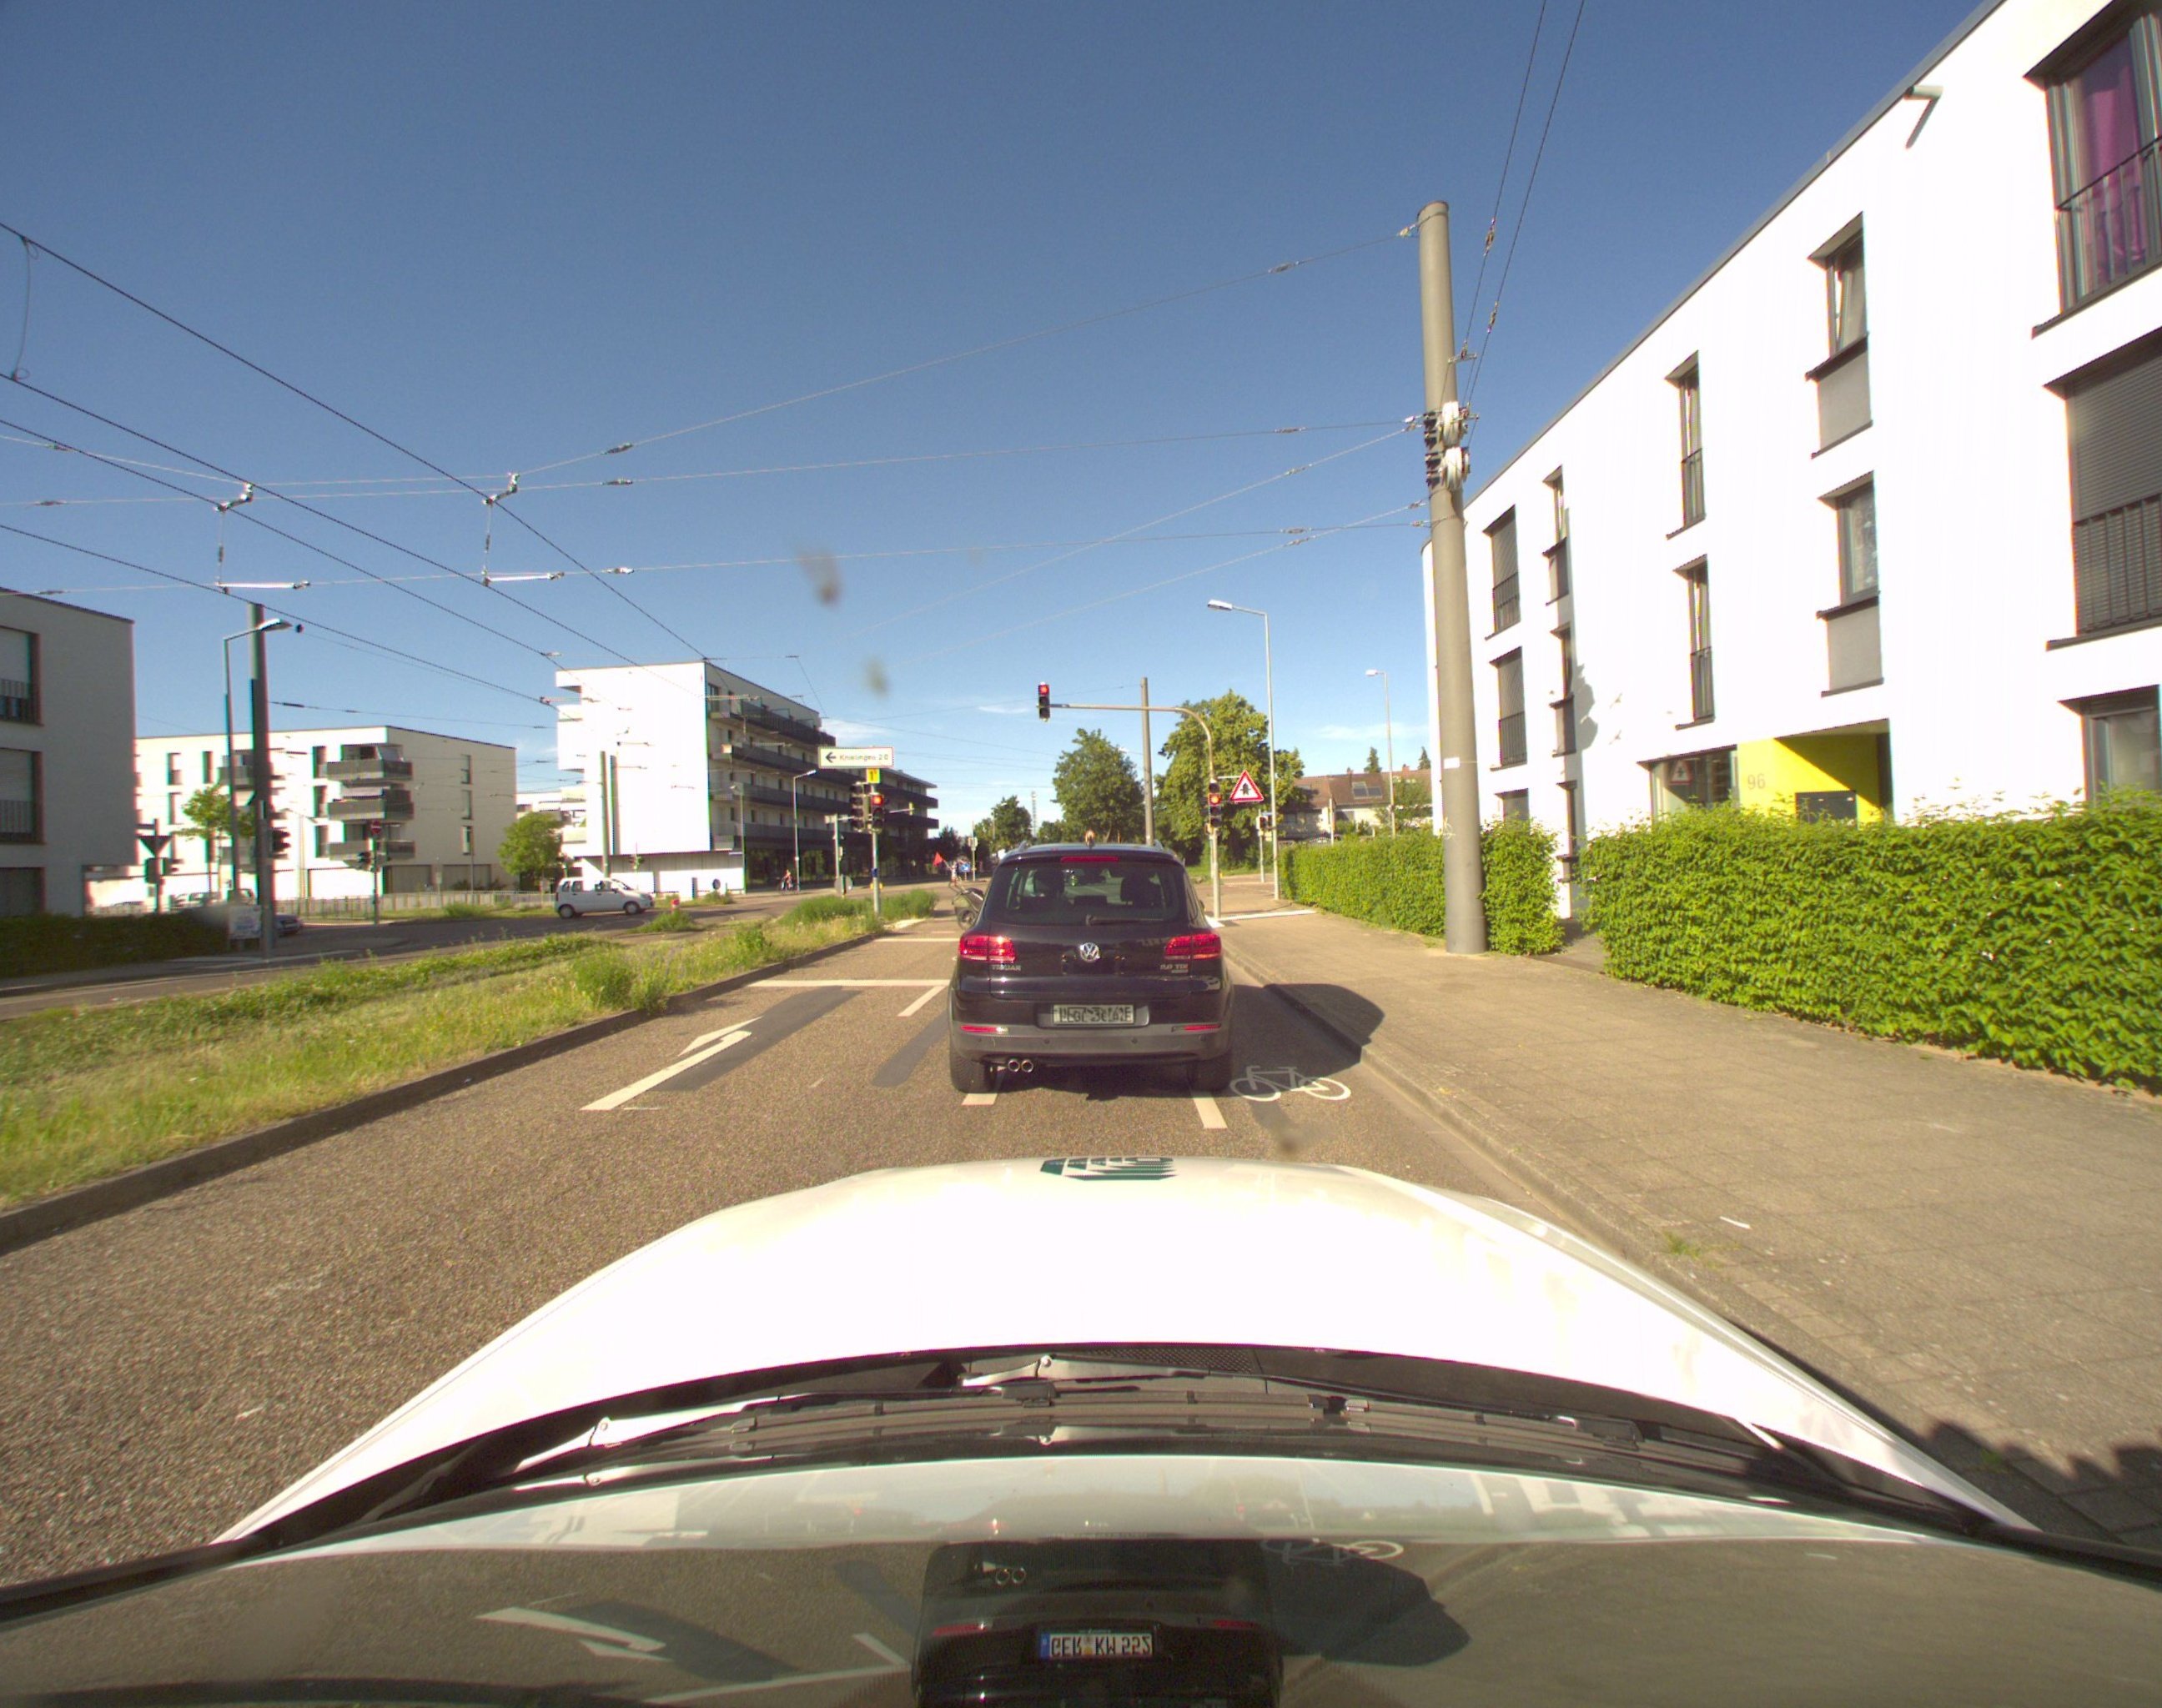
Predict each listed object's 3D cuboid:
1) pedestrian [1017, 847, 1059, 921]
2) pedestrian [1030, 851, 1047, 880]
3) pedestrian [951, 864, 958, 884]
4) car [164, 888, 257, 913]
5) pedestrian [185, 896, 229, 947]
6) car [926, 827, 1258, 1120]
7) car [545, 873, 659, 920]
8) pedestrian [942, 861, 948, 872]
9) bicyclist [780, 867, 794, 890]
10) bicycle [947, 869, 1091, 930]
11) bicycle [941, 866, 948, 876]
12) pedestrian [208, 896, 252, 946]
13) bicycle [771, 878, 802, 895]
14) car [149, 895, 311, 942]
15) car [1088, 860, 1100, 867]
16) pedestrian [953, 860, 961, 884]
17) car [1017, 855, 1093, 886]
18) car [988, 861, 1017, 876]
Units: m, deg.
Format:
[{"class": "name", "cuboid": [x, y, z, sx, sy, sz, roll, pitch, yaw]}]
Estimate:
[{"class": "pedestrian", "cuboid": [-0.961, 0.673, 18.415, 0.849, 1.594, 0.913, -3, -1, -2]}, {"class": "pedestrian", "cuboid": [-2.563, 0.681, 48.980, 0.806, 1.692, 0.623, -3, -1, 18]}, {"class": "pedestrian", "cuboid": [-9.305, 1.472, 59.970, 0.440, 1.503, 0.517, 0, -1, -4]}, {"class": "car", "cuboid": [-58.841, 3.146, 55.107, 4.305, 1.574, 2.002, 0, -1, 4]}, {"class": "pedestrian", "cuboid": [-29.158, 2.239, 27.183, 0.734, 1.605, 0.777, -1, -1, 22]}, {"class": "car", "cuboid": [0.123, 0.691, 6.593, 1.862, 1.637, 4.001, 0, -1, 2]}, {"class": "car", "cuboid": [-19.786, 1.714, 33.803, 3.685, 1.720, 1.858, -2, 0, -19]}, {"class": "pedestrian", "cuboid": [-18.862, 1.721, 112.775, 0.640, 1.509, 0.596, 0, -1, 2]}, {"class": "bicyclist", "cuboid": [-20.485, 1.702, 56.756, 0.775, 1.614, 0.644, -1, -1, 43]}, {"class": "bicycle", "cuboid": [-1.367, 0.999, 18.386, 3.108, 1.173, 0.931, -3, -1, -3]}, {"class": "bicycle", "cuboid": [-18.868, 2.347, 112.758, 0.628, 1.332, 1.913, 0, -1, 1]}, {"class": "pedestrian", "cuboid": [-28.413, 2.233, 27.200, 0.734, 1.605, 0.777, -1, -1, 22]}, {"class": "bicycle", "cuboid": [-20.523, 2.277, 56.805, 0.812, 1.124, 1.872, -1, -1, 43]}, {"class": "car", "cuboid": [-32.891, 2.474, 31.566, 4.088, 1.485, 1.867, -3, 0, -4]}, {"class": "car", "cuboid": [2.751, 2.059, 177.704, 1.981, 1.574, 4.350, -1, -1, 9]}, {"class": "pedestrian", "cuboid": [-9.193, 1.336, 60.531, 0.542, 1.744, 0.517, 0, -1, -4]}, {"class": "car", "cuboid": [-1.418, 0.901, 45.621, 3.966, 1.684, 2.004, 0, -1, 7]}, {"class": "car", "cuboid": [-8.868, 1.624, 92.343, 1.980, 1.574, 4.353, -1, -1, 11]}]
